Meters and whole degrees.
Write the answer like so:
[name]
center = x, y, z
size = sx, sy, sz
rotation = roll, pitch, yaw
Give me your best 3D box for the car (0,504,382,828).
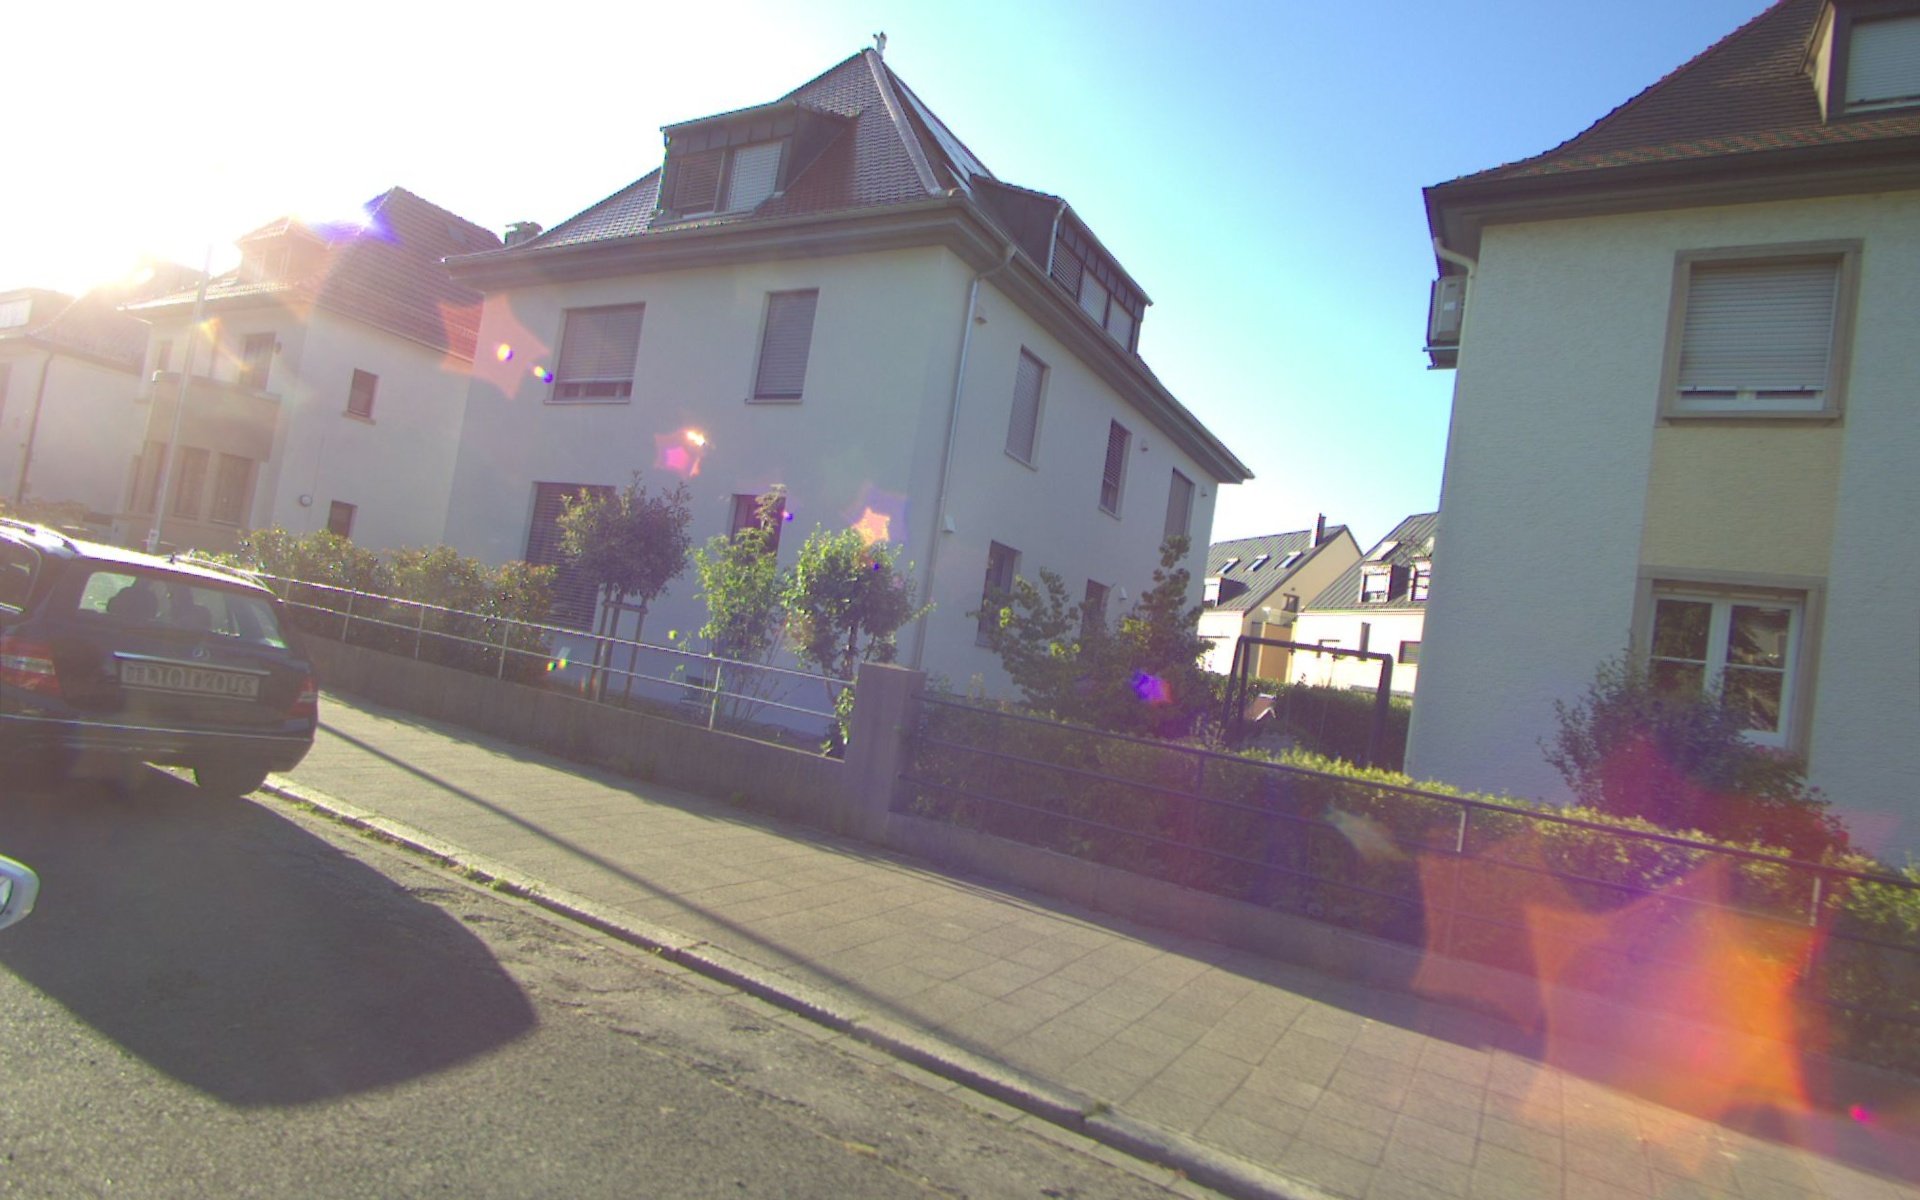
[car]
center = -5.999, 0.227, 6.520
size = 4.323, 1.513, 1.788
rotation = 7, -6, 30
